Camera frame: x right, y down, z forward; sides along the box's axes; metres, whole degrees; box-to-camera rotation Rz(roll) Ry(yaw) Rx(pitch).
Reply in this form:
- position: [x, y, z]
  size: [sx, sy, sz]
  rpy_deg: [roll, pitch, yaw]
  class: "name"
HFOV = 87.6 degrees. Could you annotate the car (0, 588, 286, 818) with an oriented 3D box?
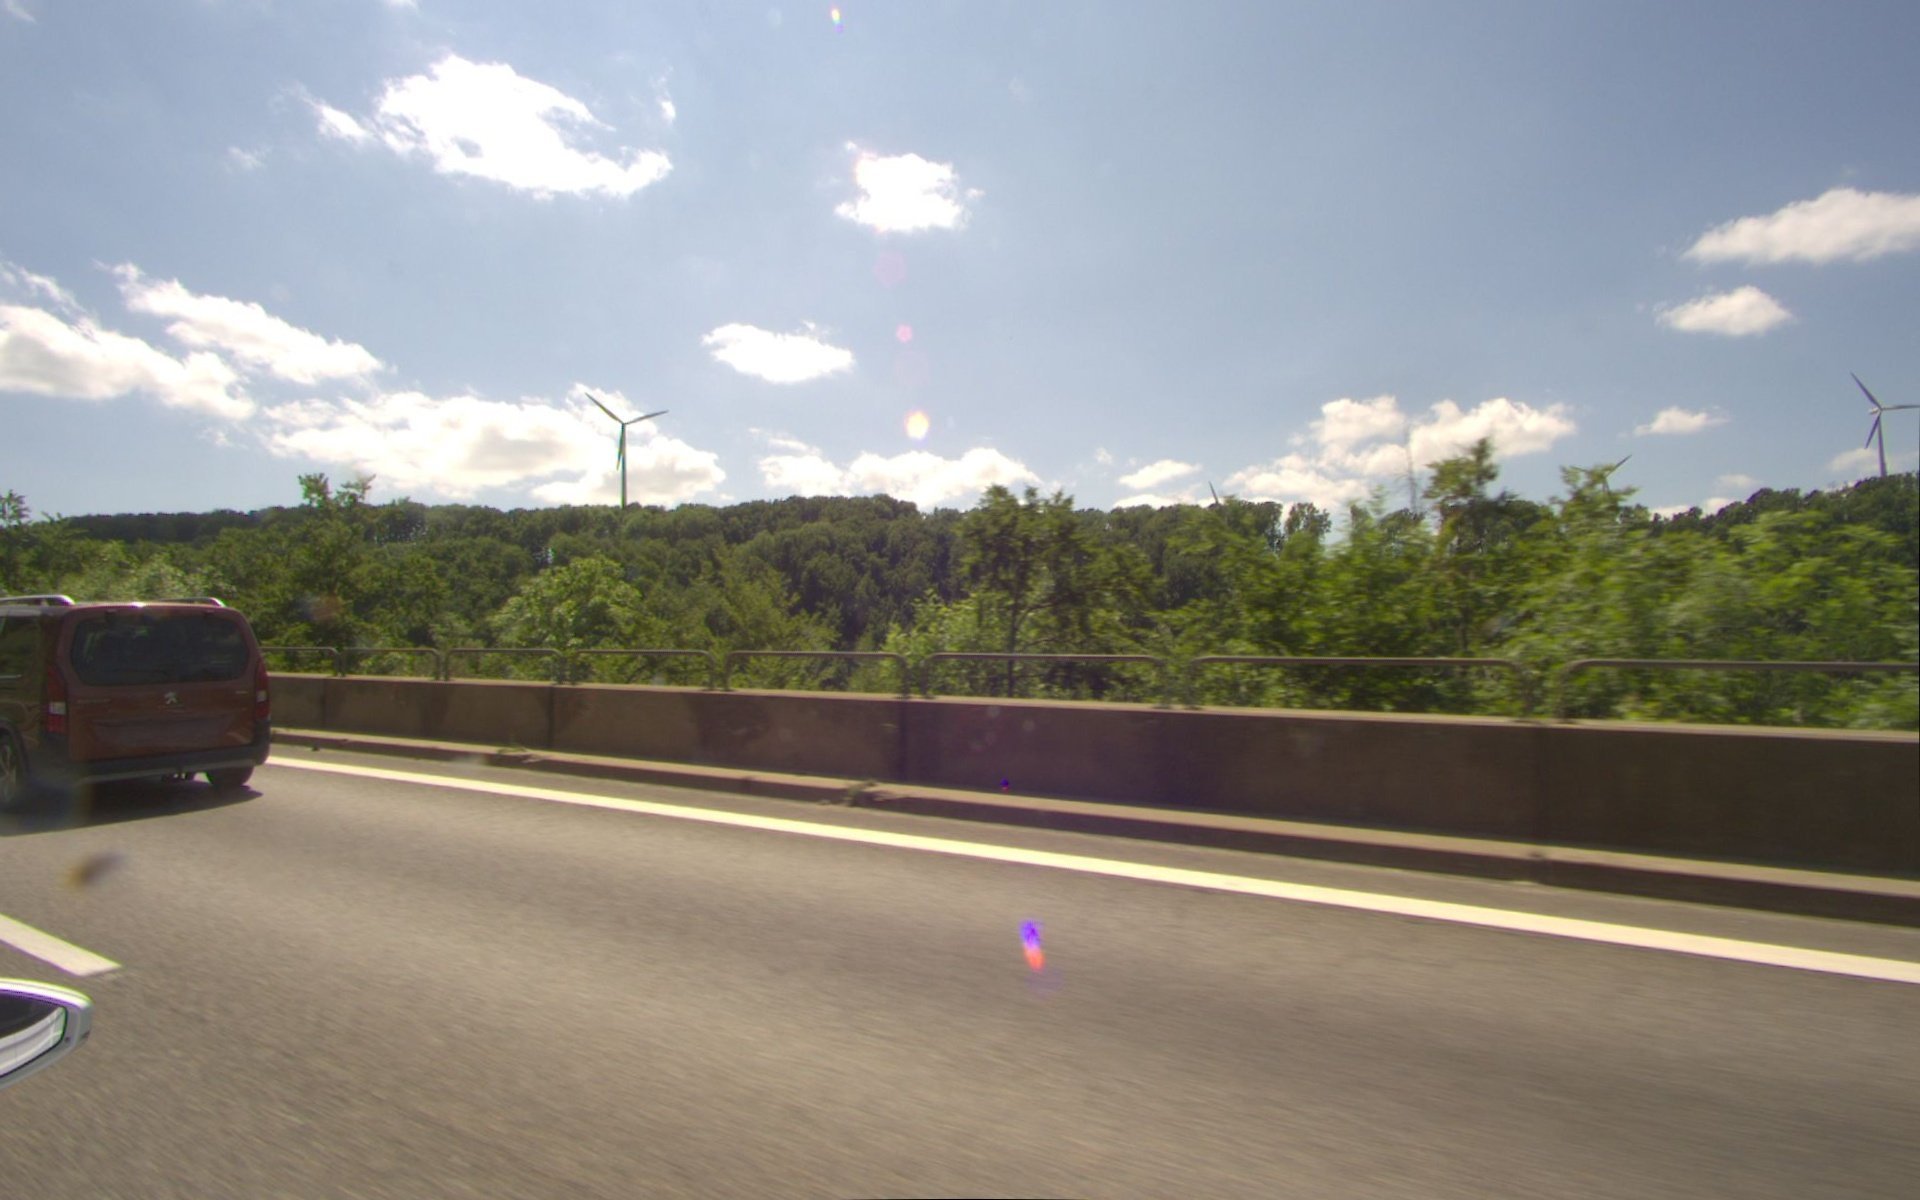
- position: [-8.788, 0.898, 9.895]
  size: [4.609, 1.807, 1.830]
  rpy_deg: [-2, -2, 32]
  class: "car"
